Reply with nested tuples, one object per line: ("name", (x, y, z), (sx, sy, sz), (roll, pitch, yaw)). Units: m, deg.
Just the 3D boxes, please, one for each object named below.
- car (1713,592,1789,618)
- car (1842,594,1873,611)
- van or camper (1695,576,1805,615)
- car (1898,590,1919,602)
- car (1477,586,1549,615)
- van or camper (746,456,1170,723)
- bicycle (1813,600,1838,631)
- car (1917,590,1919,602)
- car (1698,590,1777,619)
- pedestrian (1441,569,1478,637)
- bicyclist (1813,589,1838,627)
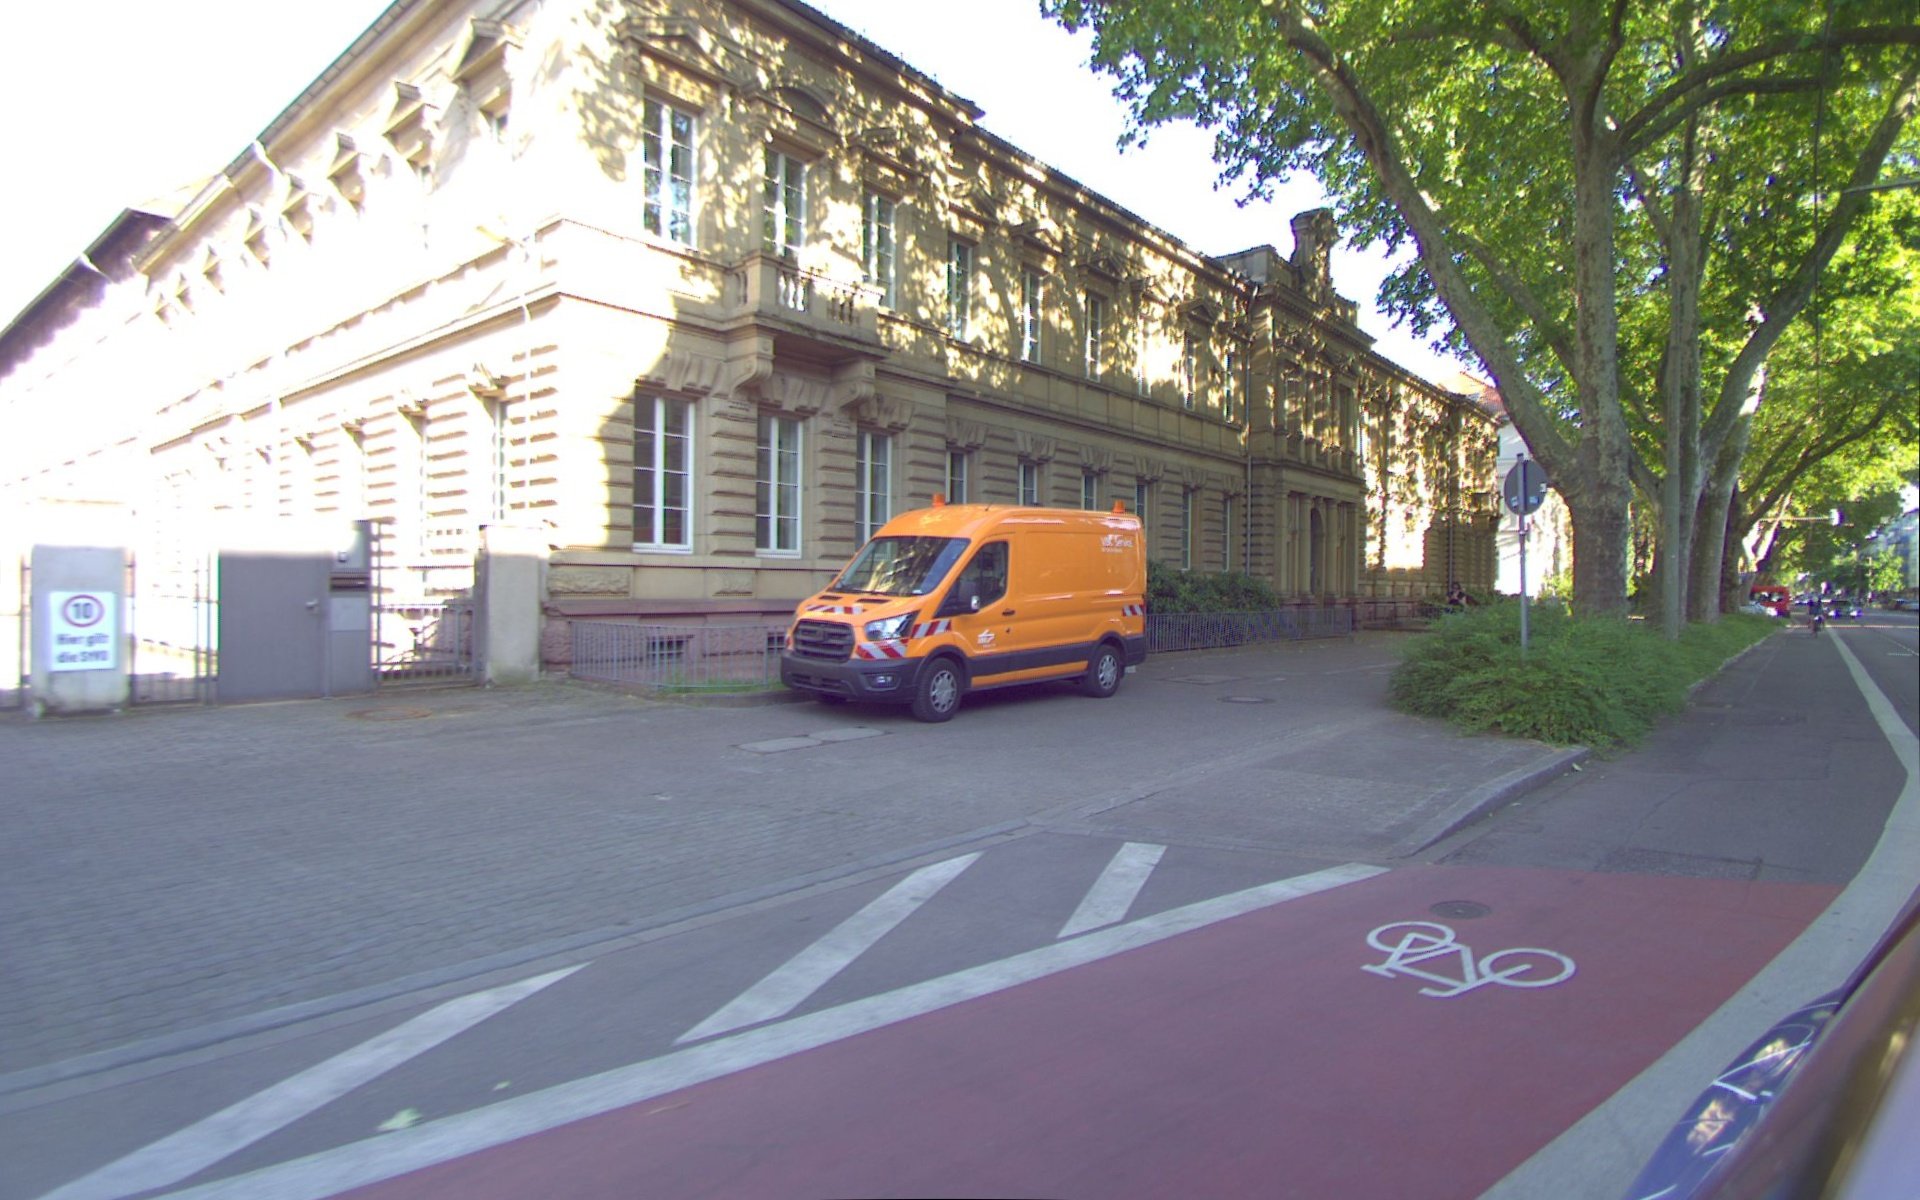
("car", (49.528, 0.281, 63.407), (3.664, 1.435, 1.592), (1, 4, 41))
("car", (75.779, 0.238, 85.485), (1.732, 1.390, 3.863), (-2, -1, 39))
("van or camper", (54.956, -0.372, 70.535), (5.902, 2.528, 2.191), (1, 3, 39))
("car", (134.071, -0.558, 142.992), (1.799, 1.563, 3.865), (-2, -1, 38))
("car", (33.018, 0.018, 60.466), (3.559, 1.561, 1.712), (1, 4, 41))
("van or camper", (0.275, -0.138, 12.666), (2.035, 2.591, 5.685), (1, 1, 42))
("bicycle", (34.174, 0.585, 39.970), (0.712, 1.152, 2.089), (1, 1, 40))
("car", (124.737, -0.513, 130.309), (1.799, 1.563, 3.865), (-2, -1, 38))
("car", (45.930, 0.251, 59.822), (3.664, 1.561, 1.592), (1, 4, 41))
("pedestrian", (13.371, 0.071, 27.080), (0.650, 1.758, 0.993), (1, 1, 41))
("bicyclist", (34.133, 0.313, 39.907), (0.712, 1.461, 0.939), (1, 1, 42))
